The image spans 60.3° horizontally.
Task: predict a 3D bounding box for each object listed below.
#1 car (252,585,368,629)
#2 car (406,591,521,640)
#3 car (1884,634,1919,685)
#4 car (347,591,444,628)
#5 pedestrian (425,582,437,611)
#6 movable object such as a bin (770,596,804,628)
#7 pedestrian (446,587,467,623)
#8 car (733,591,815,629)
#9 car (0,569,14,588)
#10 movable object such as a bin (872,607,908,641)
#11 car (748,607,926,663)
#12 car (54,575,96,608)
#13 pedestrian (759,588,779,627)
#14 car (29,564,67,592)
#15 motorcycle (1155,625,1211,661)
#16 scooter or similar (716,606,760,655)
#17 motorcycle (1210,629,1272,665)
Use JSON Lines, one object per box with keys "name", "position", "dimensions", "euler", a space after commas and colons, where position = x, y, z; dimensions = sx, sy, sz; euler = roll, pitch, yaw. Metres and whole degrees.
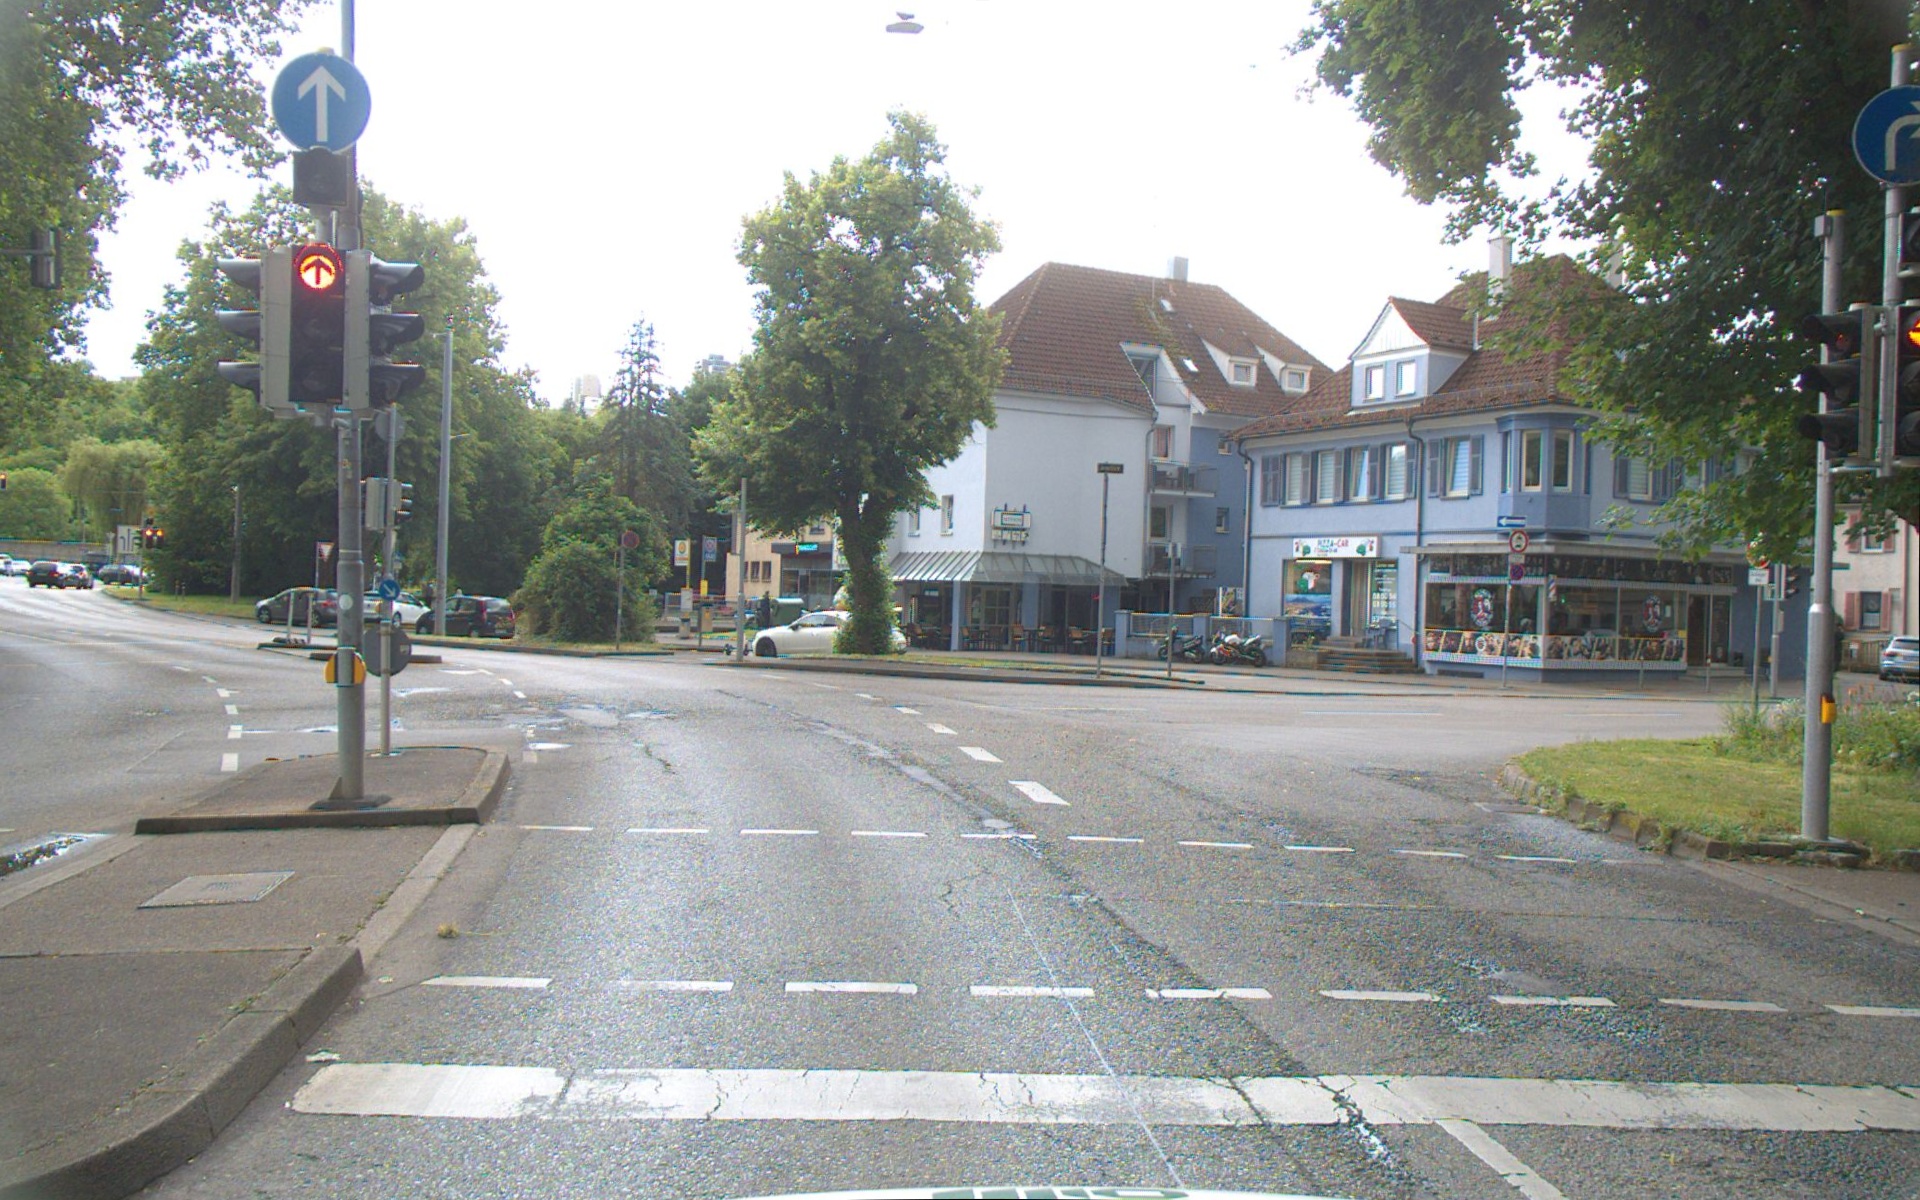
{"name": "car", "position": [-25.097, 0.259, 63.851], "dimensions": [4.016, 1.454, 1.733], "euler": [3, 0, 21]}
{"name": "car", "position": [-16.008, 0.480, 53.320], "dimensions": [3.416, 1.428, 1.571], "euler": [2, 0, 28]}
{"name": "car", "position": [29.715, 1.843, 51.601], "dimensions": [1.537, 1.488, 3.433], "euler": [2, 0, 29]}
{"name": "car", "position": [-22.670, 0.390, 66.612], "dimensions": [1.721, 1.405, 4.265], "euler": [2, 0, 11]}
{"name": "pedestrian", "position": [-28.280, -0.193, 88.426], "dimensions": [0.503, 1.558, 0.772], "euler": [2, -1, -23]}
{"name": "movable object such as a bin", "position": [-7.731, 0.530, 73.768], "dimensions": [1.204, 1.368, 0.984], "euler": [1, -1, -32]}
{"name": "pedestrian", "position": [-22.436, 0.228, 73.650], "dimensions": [0.677, 1.578, 0.734], "euler": [2, 0, -32]}
{"name": "car", "position": [-8.502, 0.446, 75.692], "dimensions": [3.370, 1.659, 1.611], "euler": [1, 0, -26]}
{"name": "car", "position": [-88.450, -2.000, 152.183], "dimensions": [1.968, 1.684, 4.392], "euler": [1, 1, -25]}
{"name": "movable object such as a bin", "position": [-2.977, 1.012, 70.389], "dimensions": [1.197, 1.419, 1.153], "euler": [1, 0, -22]}
{"name": "car", "position": [-3.417, 0.928, 45.695], "dimensions": [4.689, 1.411, 1.994], "euler": [1, 0, 34]}
{"name": "car", "position": [-55.839, -0.545, 104.435], "dimensions": [1.967, 1.959, 3.971], "euler": [1, 0, -24]}
{"name": "pedestrian", "position": [-8.606, 0.327, 74.418], "dimensions": [0.680, 1.760, 0.605], "euler": [1, -1, -32]}
{"name": "car", "position": [-52.306, -1.261, 94.817], "dimensions": [1.804, 1.535, 4.527], "euler": [1, 0, -30]}
{"name": "motorcycle", "position": [6.753, 1.294, 50.141], "dimensions": [1.695, 1.049, 0.487], "euler": [1, 0, 43]}
{"name": "scooter or similar", "position": [-5.722, 0.791, 42.634], "dimensions": [0.403, 1.187, 1.361], "euler": [1, -3, 25]}
{"name": "motorcycle", "position": [8.214, 1.365, 48.414], "dimensions": [1.791, 1.003, 0.518], "euler": [1, -1, 43]}
